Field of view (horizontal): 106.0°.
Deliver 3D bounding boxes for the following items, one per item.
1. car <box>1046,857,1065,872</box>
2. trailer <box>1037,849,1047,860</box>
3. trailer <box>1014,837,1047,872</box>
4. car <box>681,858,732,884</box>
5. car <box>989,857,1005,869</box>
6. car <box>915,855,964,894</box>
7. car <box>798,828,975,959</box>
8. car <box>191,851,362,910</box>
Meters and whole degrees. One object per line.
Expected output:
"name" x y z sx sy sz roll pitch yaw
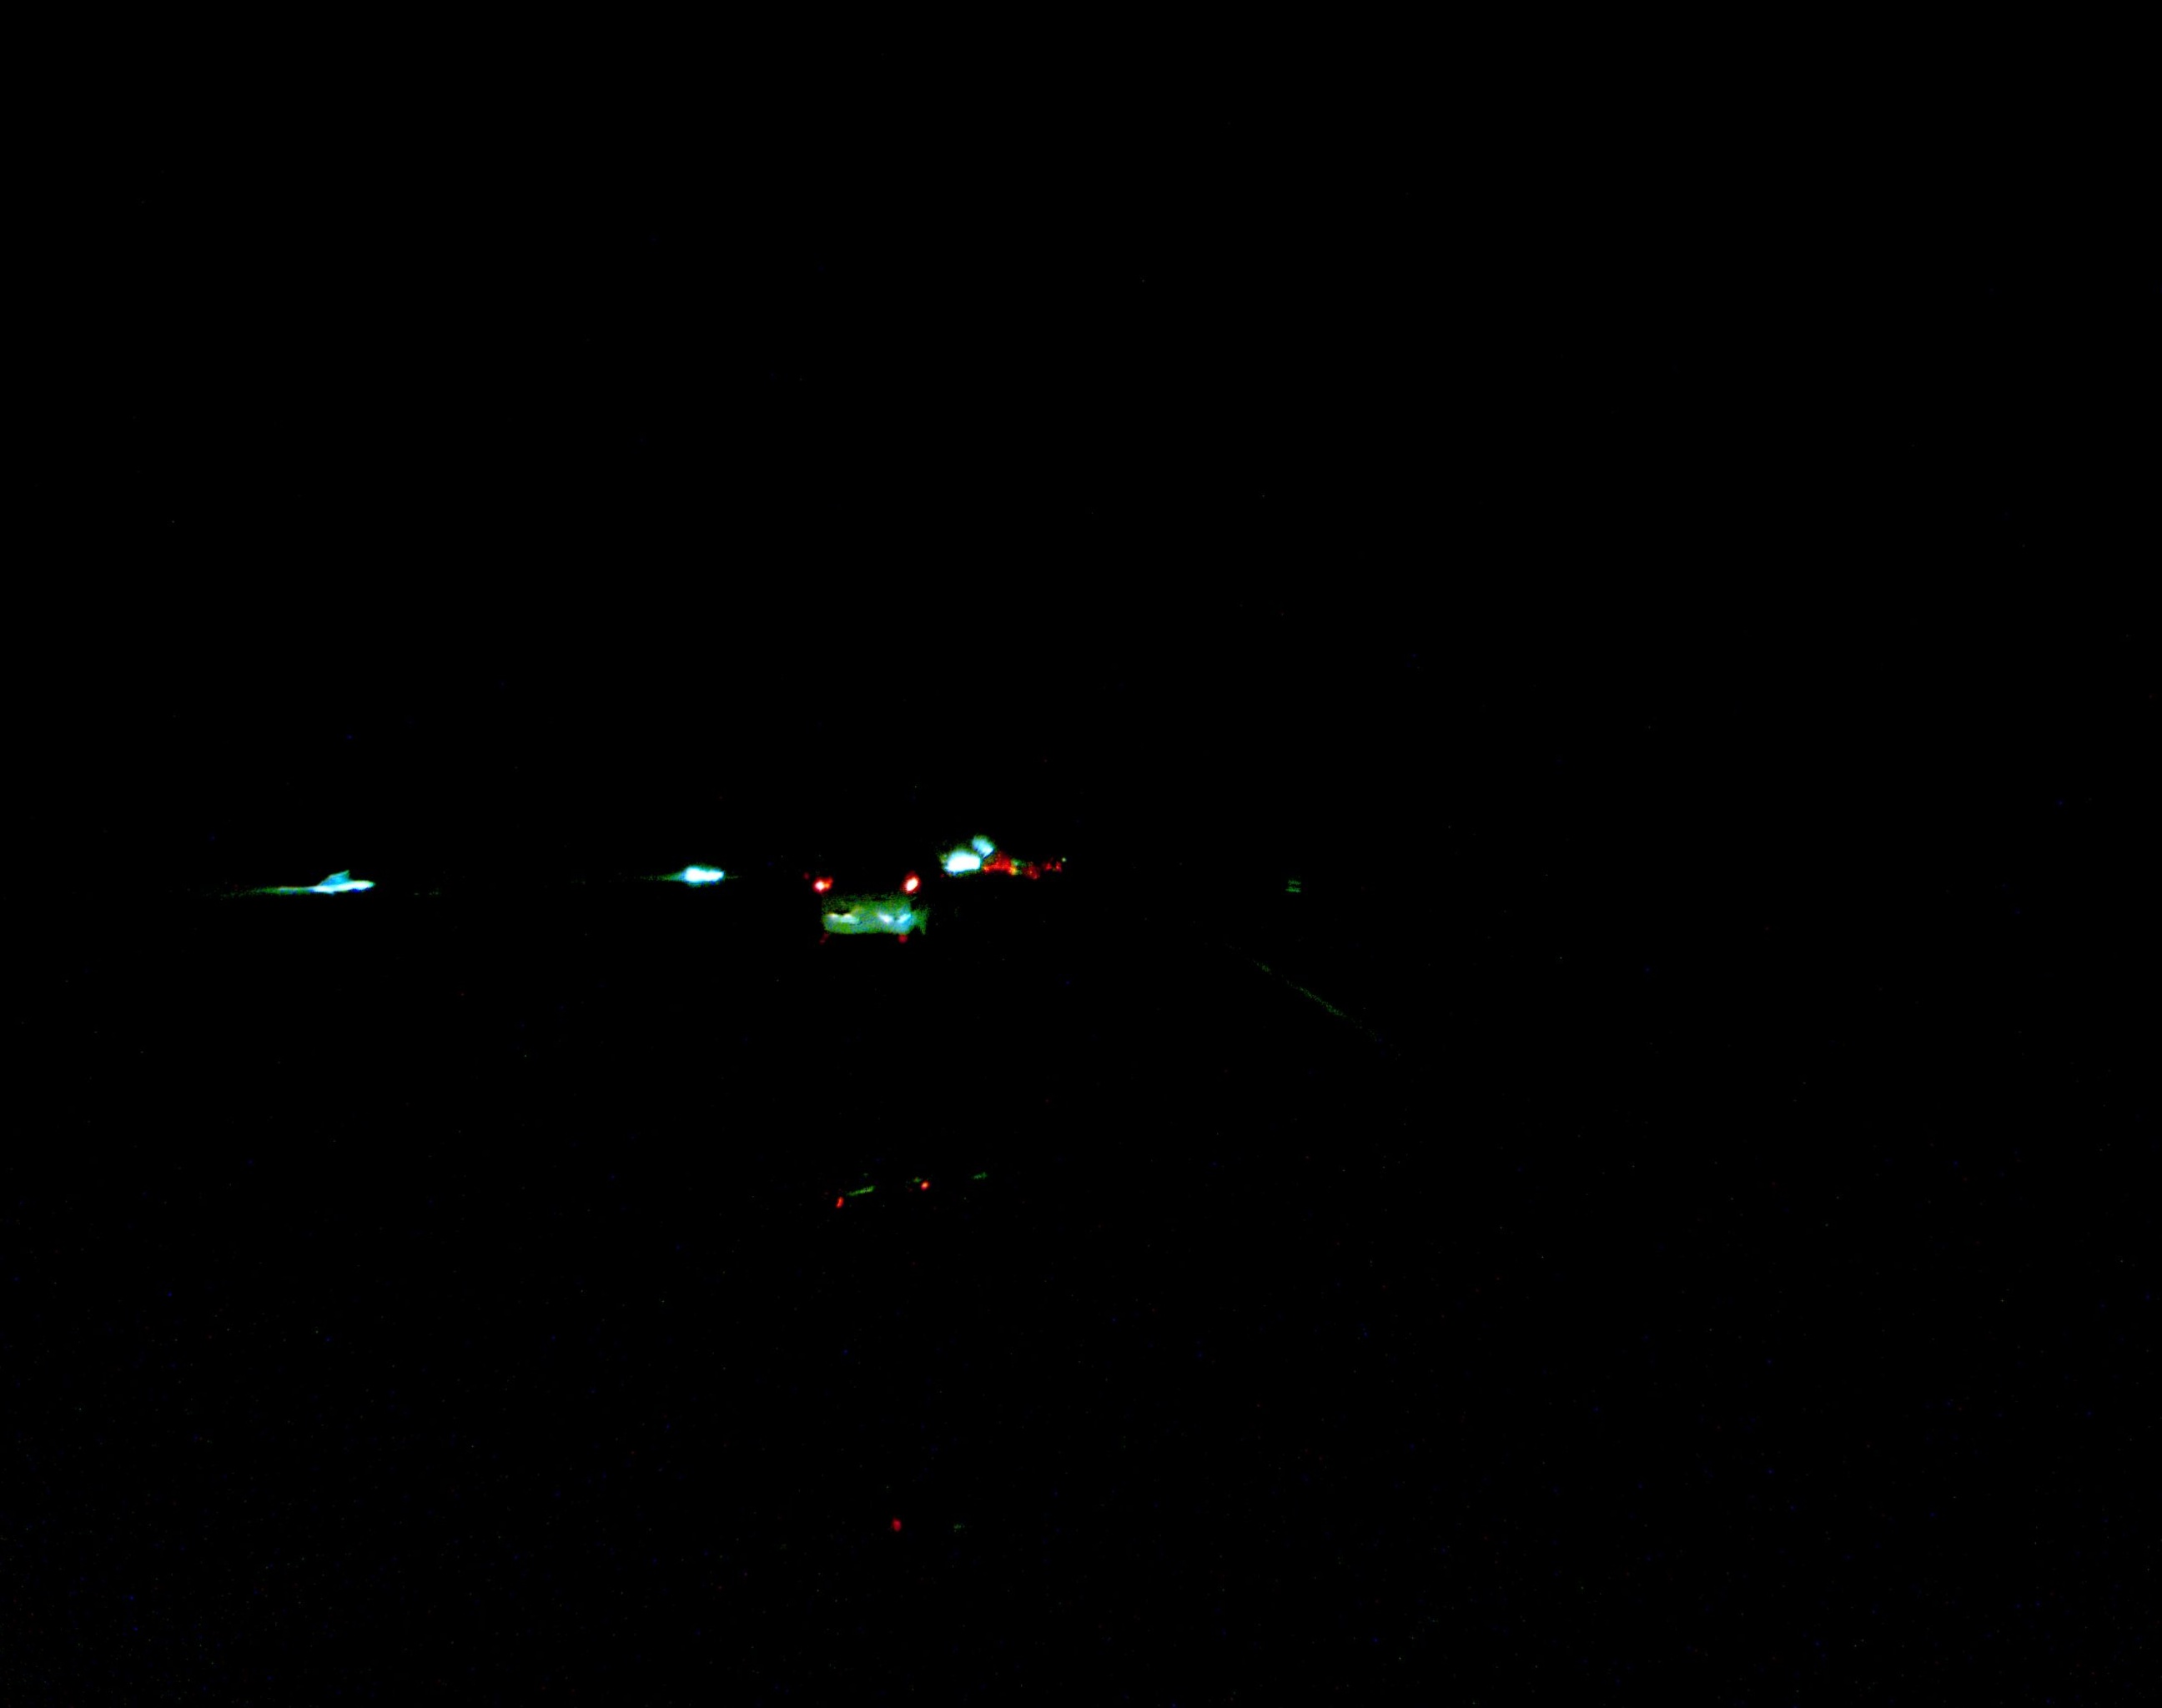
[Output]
"car" -3.198 1.300 104.415 1.985 1.818 4.004 2 -1 4
"trailer" -10.401 0.162 217.584 2.680 2.700 12.845 2 -1 -2
"trailer" -5.811 0.126 95.955 2.582 3.725 13.656 2 -1 2
"car" -30.758 1.356 66.968 1.987 2.014 4.405 2 -1 1
"car" -12.027 1.239 116.500 1.989 1.618 3.995 2 0 -3
"car" -7.865 1.137 45.709 1.988 2.014 4.564 2 -1 -2
"car" -3.366 0.641 15.200 1.986 2.014 5.017 -1 -1 1
"car" -30.469 0.975 31.091 1.987 2.014 4.405 2 -1 1
